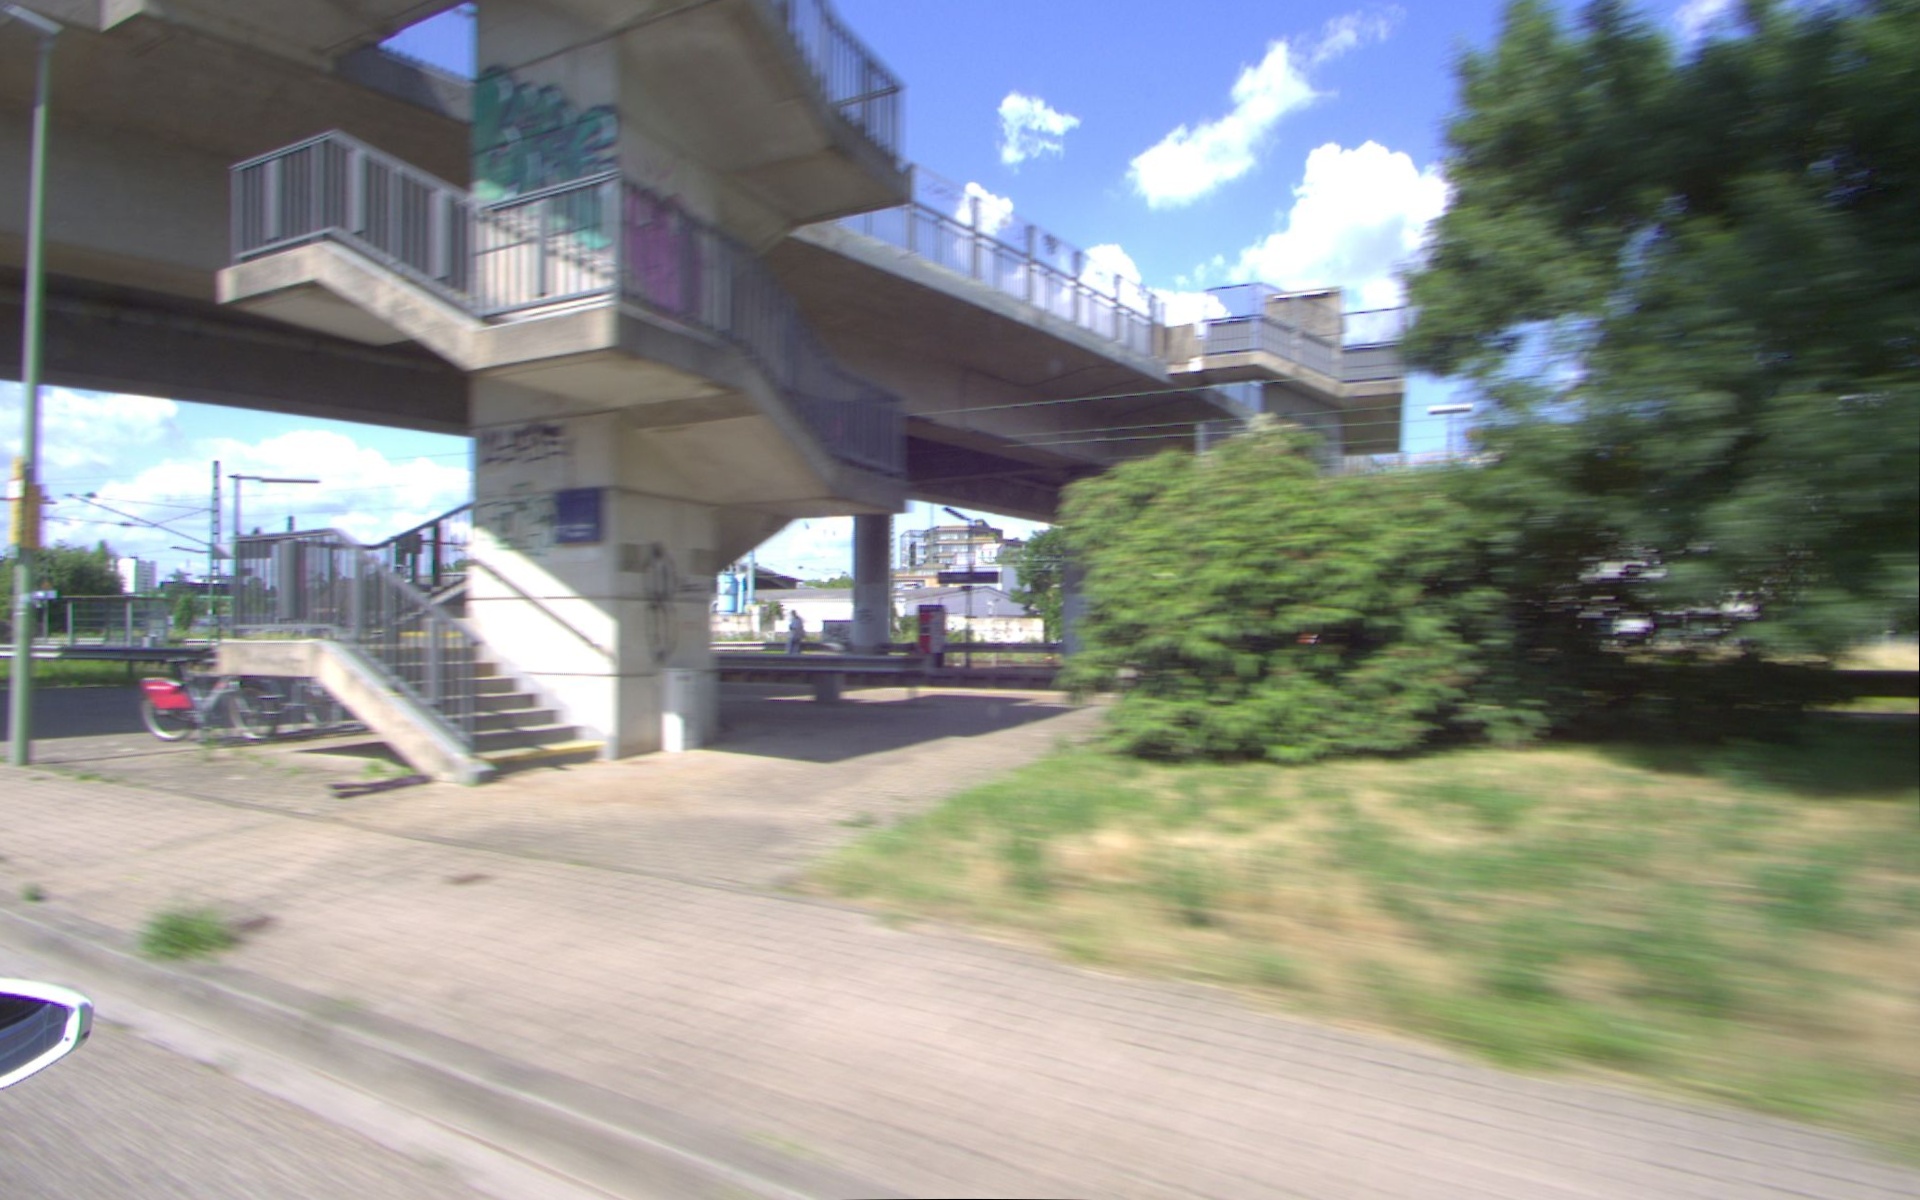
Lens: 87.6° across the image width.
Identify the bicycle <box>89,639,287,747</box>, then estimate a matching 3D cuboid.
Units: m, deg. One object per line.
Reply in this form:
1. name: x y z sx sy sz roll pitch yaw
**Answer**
1. bicycle: -8.632 1.003 11.192 2.152 1.122 0.644 0 -1 17
